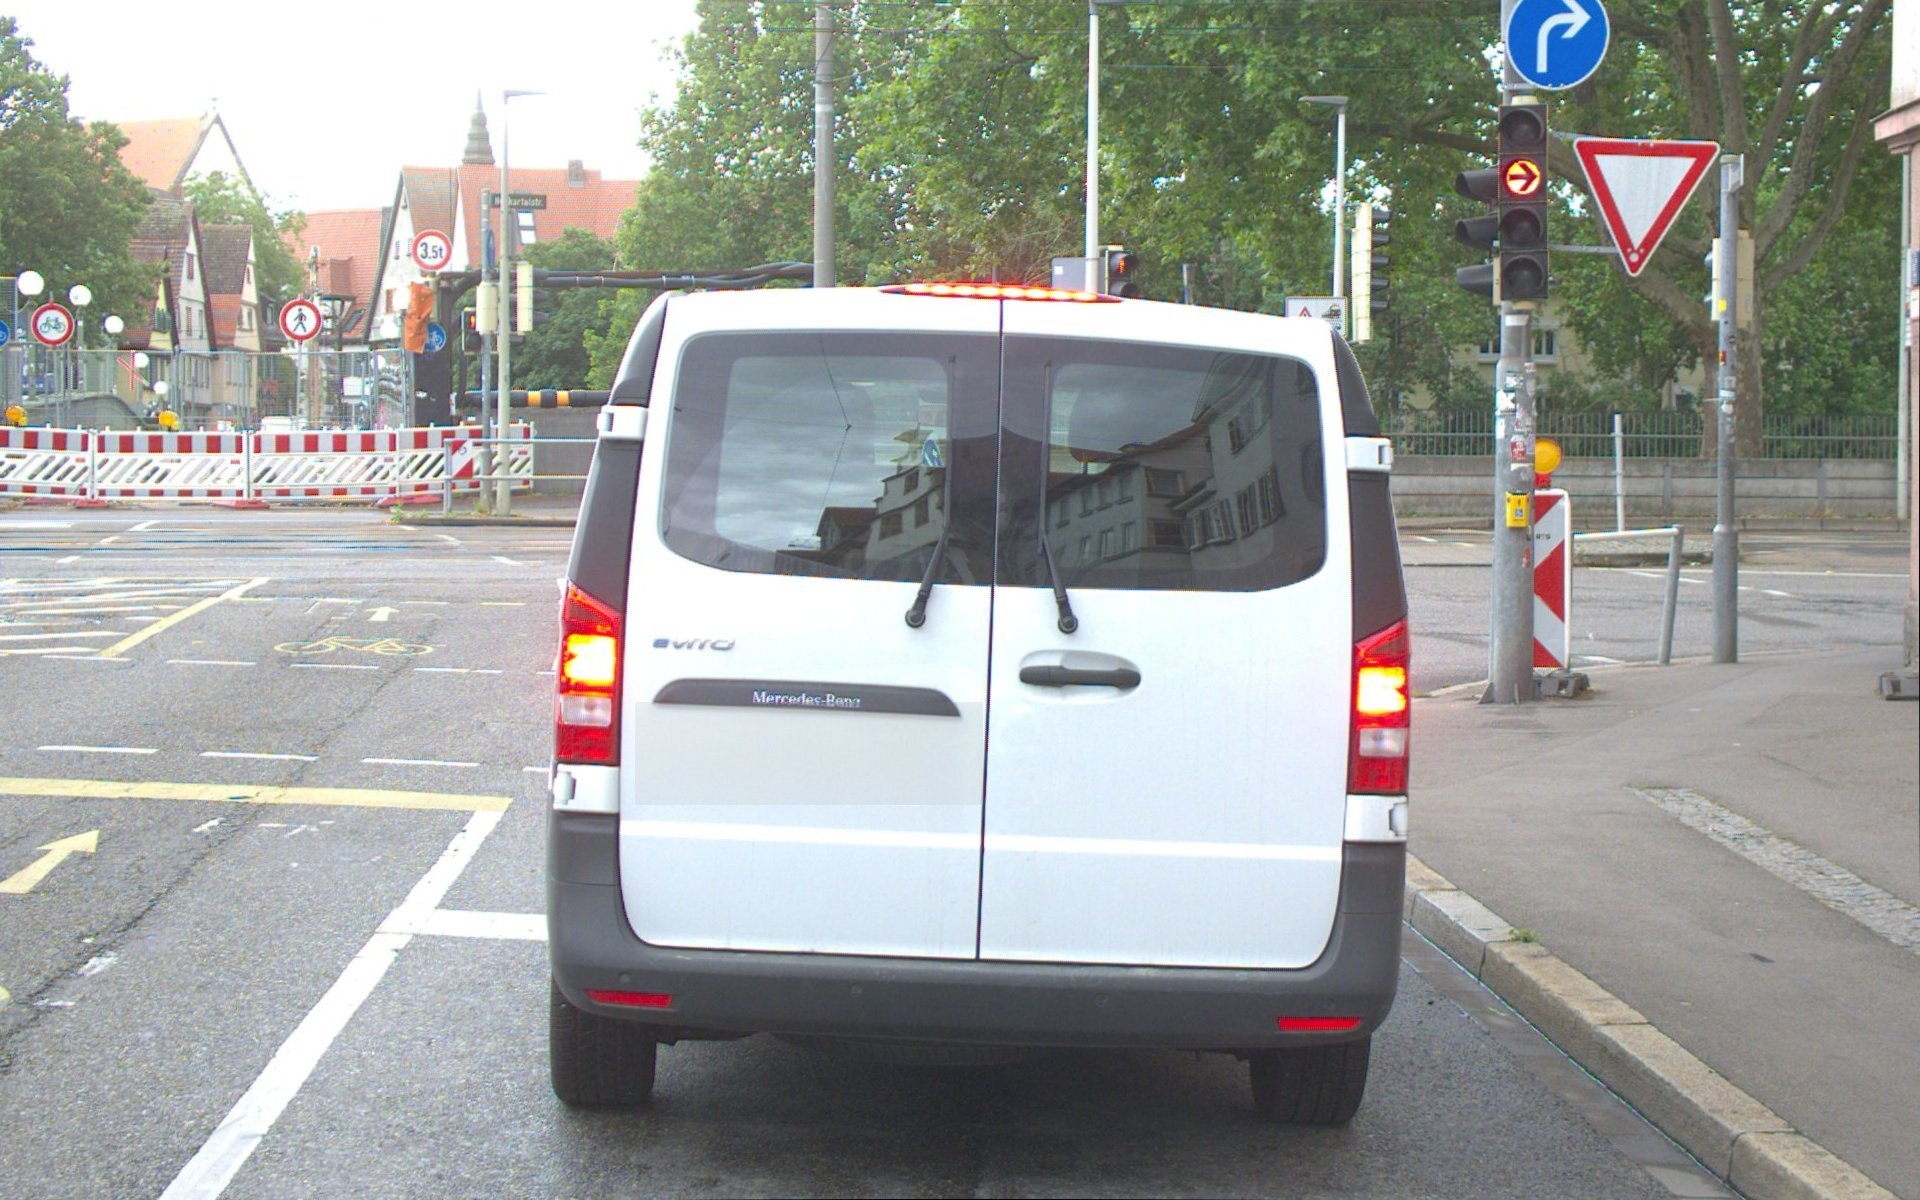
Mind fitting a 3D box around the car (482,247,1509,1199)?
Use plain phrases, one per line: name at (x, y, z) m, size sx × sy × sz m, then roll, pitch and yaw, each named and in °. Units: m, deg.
car at (-0.101, 0.155, 8.939) m, size 1.993 × 1.916 × 4.250 m, roll 1°, pitch 4°, yaw -5°
